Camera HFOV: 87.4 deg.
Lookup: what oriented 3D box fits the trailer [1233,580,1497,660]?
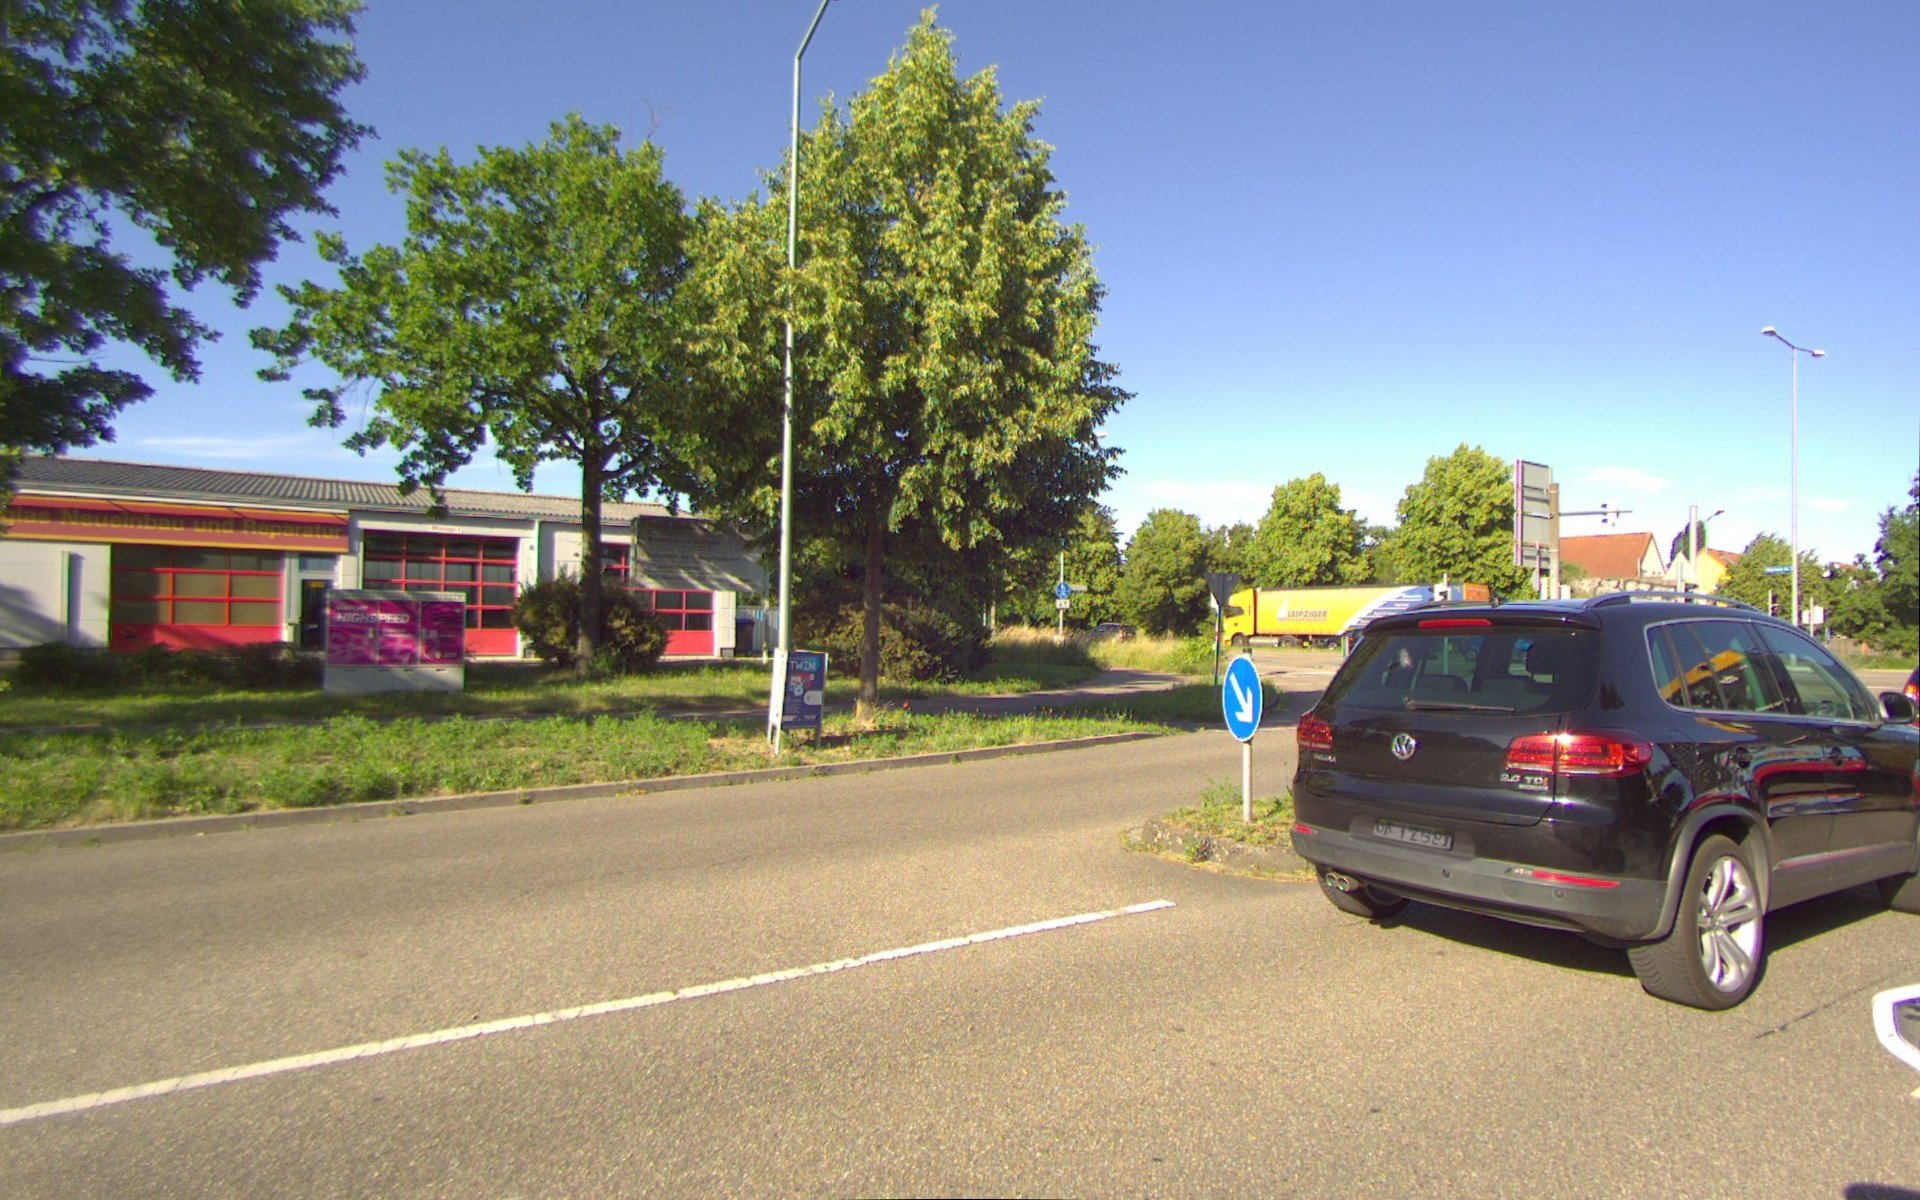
[{"bbox_3d":[23.669,1.001,60.381,3.407,4.241,15.206,2,0,-35],"label":"trailer"}]

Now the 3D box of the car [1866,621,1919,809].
[{"bbox_3d":[10.229,1.009,9.212,3.954,1.610,1.753,1,-3,-31],"label":"car"}]

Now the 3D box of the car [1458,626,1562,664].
[{"bbox_3d":[23.757,1.912,43.493,1.733,1.581,3.559,2,-2,-35],"label":"car"}]

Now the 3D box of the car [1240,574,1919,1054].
[{"bbox_3d":[3.551,0.824,5.312,3.954,1.675,1.763,1,-3,-31],"label":"car"}]

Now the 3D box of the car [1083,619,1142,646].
[{"bbox_3d":[10.935,2.322,72.042,1.929,1.728,3.959,2,0,-36],"label":"car"}]

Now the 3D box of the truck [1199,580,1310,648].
[{"bbox_3d":[19.403,0.897,66.426,3.407,4.253,6.178,2,0,-36],"label":"truck"}]

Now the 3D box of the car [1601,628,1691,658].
[{"bbox_3d":[35.614,2.241,52.207,3.522,1.478,1.578,0,-2,9],"label":"car"}]
